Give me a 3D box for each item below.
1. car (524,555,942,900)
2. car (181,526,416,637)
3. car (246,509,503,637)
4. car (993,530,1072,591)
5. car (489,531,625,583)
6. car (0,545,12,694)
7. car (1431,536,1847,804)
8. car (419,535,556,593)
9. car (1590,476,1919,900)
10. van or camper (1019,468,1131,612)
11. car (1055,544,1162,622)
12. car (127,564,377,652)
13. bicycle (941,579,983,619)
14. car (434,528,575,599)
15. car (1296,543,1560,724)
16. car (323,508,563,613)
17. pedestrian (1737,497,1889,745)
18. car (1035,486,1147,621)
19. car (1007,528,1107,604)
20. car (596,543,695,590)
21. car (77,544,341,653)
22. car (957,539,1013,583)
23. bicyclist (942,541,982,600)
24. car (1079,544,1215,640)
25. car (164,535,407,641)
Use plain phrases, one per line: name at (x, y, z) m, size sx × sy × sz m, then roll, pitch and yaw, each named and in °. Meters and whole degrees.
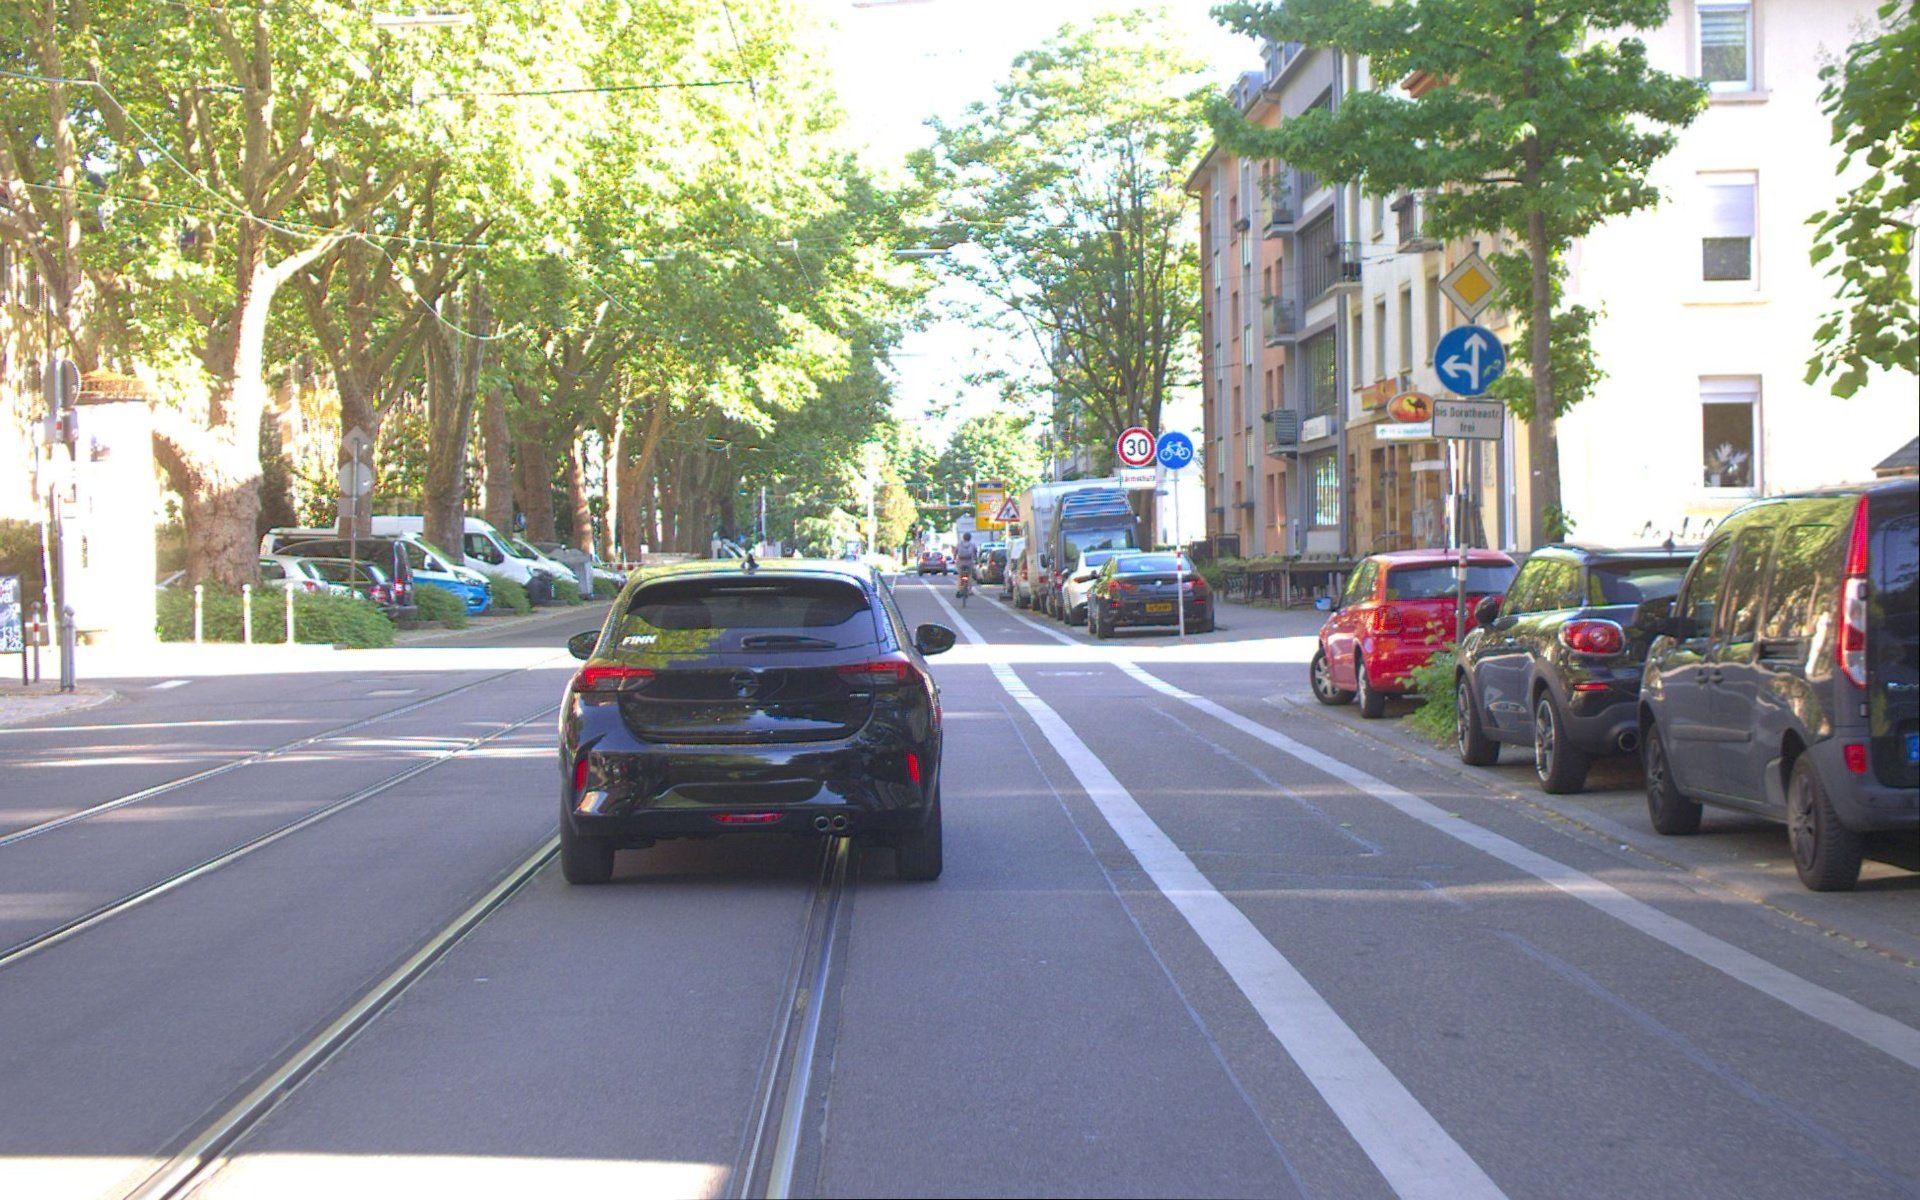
car at (-0.986, 0.513, 16.522) m, size 1.763 × 1.455 × 3.950 m, roll 0°, pitch 1°, yaw -1°
car at (-12.877, -0.370, 67.131) m, size 4.298 × 1.834 × 1.783 m, roll -4°, pitch 1°, yaw -8°
car at (-12.537, -0.591, 73.829) m, size 5.036 × 2.366 × 2.081 m, roll -4°, pitch 1°, yaw 0°
car at (2.280, -1.269, 109.890) m, size 2.254 × 1.834 × 5.531 m, roll -2°, pitch 1°, yaw -1°
car at (-13.244, -1.402, 112.852) m, size 4.353 × 1.659 × 2.001 m, roll 0°, pitch 1°, yaw -9°
car at (-12.474, 0.224, 36.543) m, size 4.299 × 1.601 × 1.926 m, roll 0°, pitch 1°, yaw -3°
car at (4.310, 0.391, 22.426) m, size 1.712 × 1.509 × 4.037 m, roll -3°, pitch 1°, yaw -2°
car at (-14.768, -1.117, 107.301) m, size 4.175 × 1.788 × 2.001 m, roll 0°, pitch 1°, yaw -9°
car at (4.483, 0.322, 16.695) m, size 1.885 × 1.760 × 4.678 m, roll -1°, pitch 1°, yaw -1°
van or camper at (2.664, -1.397, 81.111) m, size 2.254 × 3.205 × 5.531 m, roll -2°, pitch 1°, yaw -1°
car at (2.876, -0.318, 67.356) m, size 1.803 × 1.429 × 4.000 m, roll -2°, pitch 0°, yaw -1°
car at (-12.892, 0.141, 62.774) m, size 4.298 × 1.286 × 1.711 m, roll -4°, pitch 1°, yaw -8°
bicycle at (0.048, -0.033, 87.127) m, size 0.968 × 0.995 × 2.583 m, roll 0°, pitch 1°, yaw -2°
car at (-13.215, -1.060, 99.734) m, size 3.986 × 2.007 × 2.001 m, roll 0°, pitch 1°, yaw -9°
car at (4.159, 0.260, 31.116) m, size 1.702 × 1.418 × 3.979 m, roll -4°, pitch 1°, yaw -1°
car at (-12.985, -1.003, 86.538) m, size 5.639 × 2.584 × 2.196 m, roll 0°, pitch 1°, yaw 3°
pedestrian at (6.132, 0.137, 24.756) m, size 0.829 × 1.705 × 0.835 m, roll -3°, pitch 2°, yaw 1°
car at (2.801, -1.034, 74.551) m, size 2.085 × 2.762 × 4.698 m, roll -2°, pitch 1°, yaw -1°
car at (2.457, -0.880, 88.316) m, size 2.254 × 1.834 × 5.531 m, roll -2°, pitch 1°, yaw -1°
car at (-13.649, -1.444, 149.335) m, size 3.988 × 2.007 × 2.000 m, roll 0°, pitch 1°, yaw 6°
car at (-13.116, -0.036, 60.224) m, size 4.298 × 1.588 × 1.783 m, roll -4°, pitch 1°, yaw -8°
car at (1.080, -1.711, 151.360) m, size 2.254 × 1.834 × 5.531 m, roll -2°, pitch 1°, yaw -1°
bicyclist at (0.048, -0.755, 87.095) m, size 0.958 × 1.494 × 1.094 m, roll 0°, pitch 1°, yaw -2°
car at (3.070, -0.160, 57.262) m, size 1.884 × 1.429 × 4.530 m, roll -3°, pitch 1°, yaw -1°
car at (-12.669, -0.229, 64.805) m, size 4.298 × 1.669 × 1.783 m, roll -4°, pitch 1°, yaw -8°
